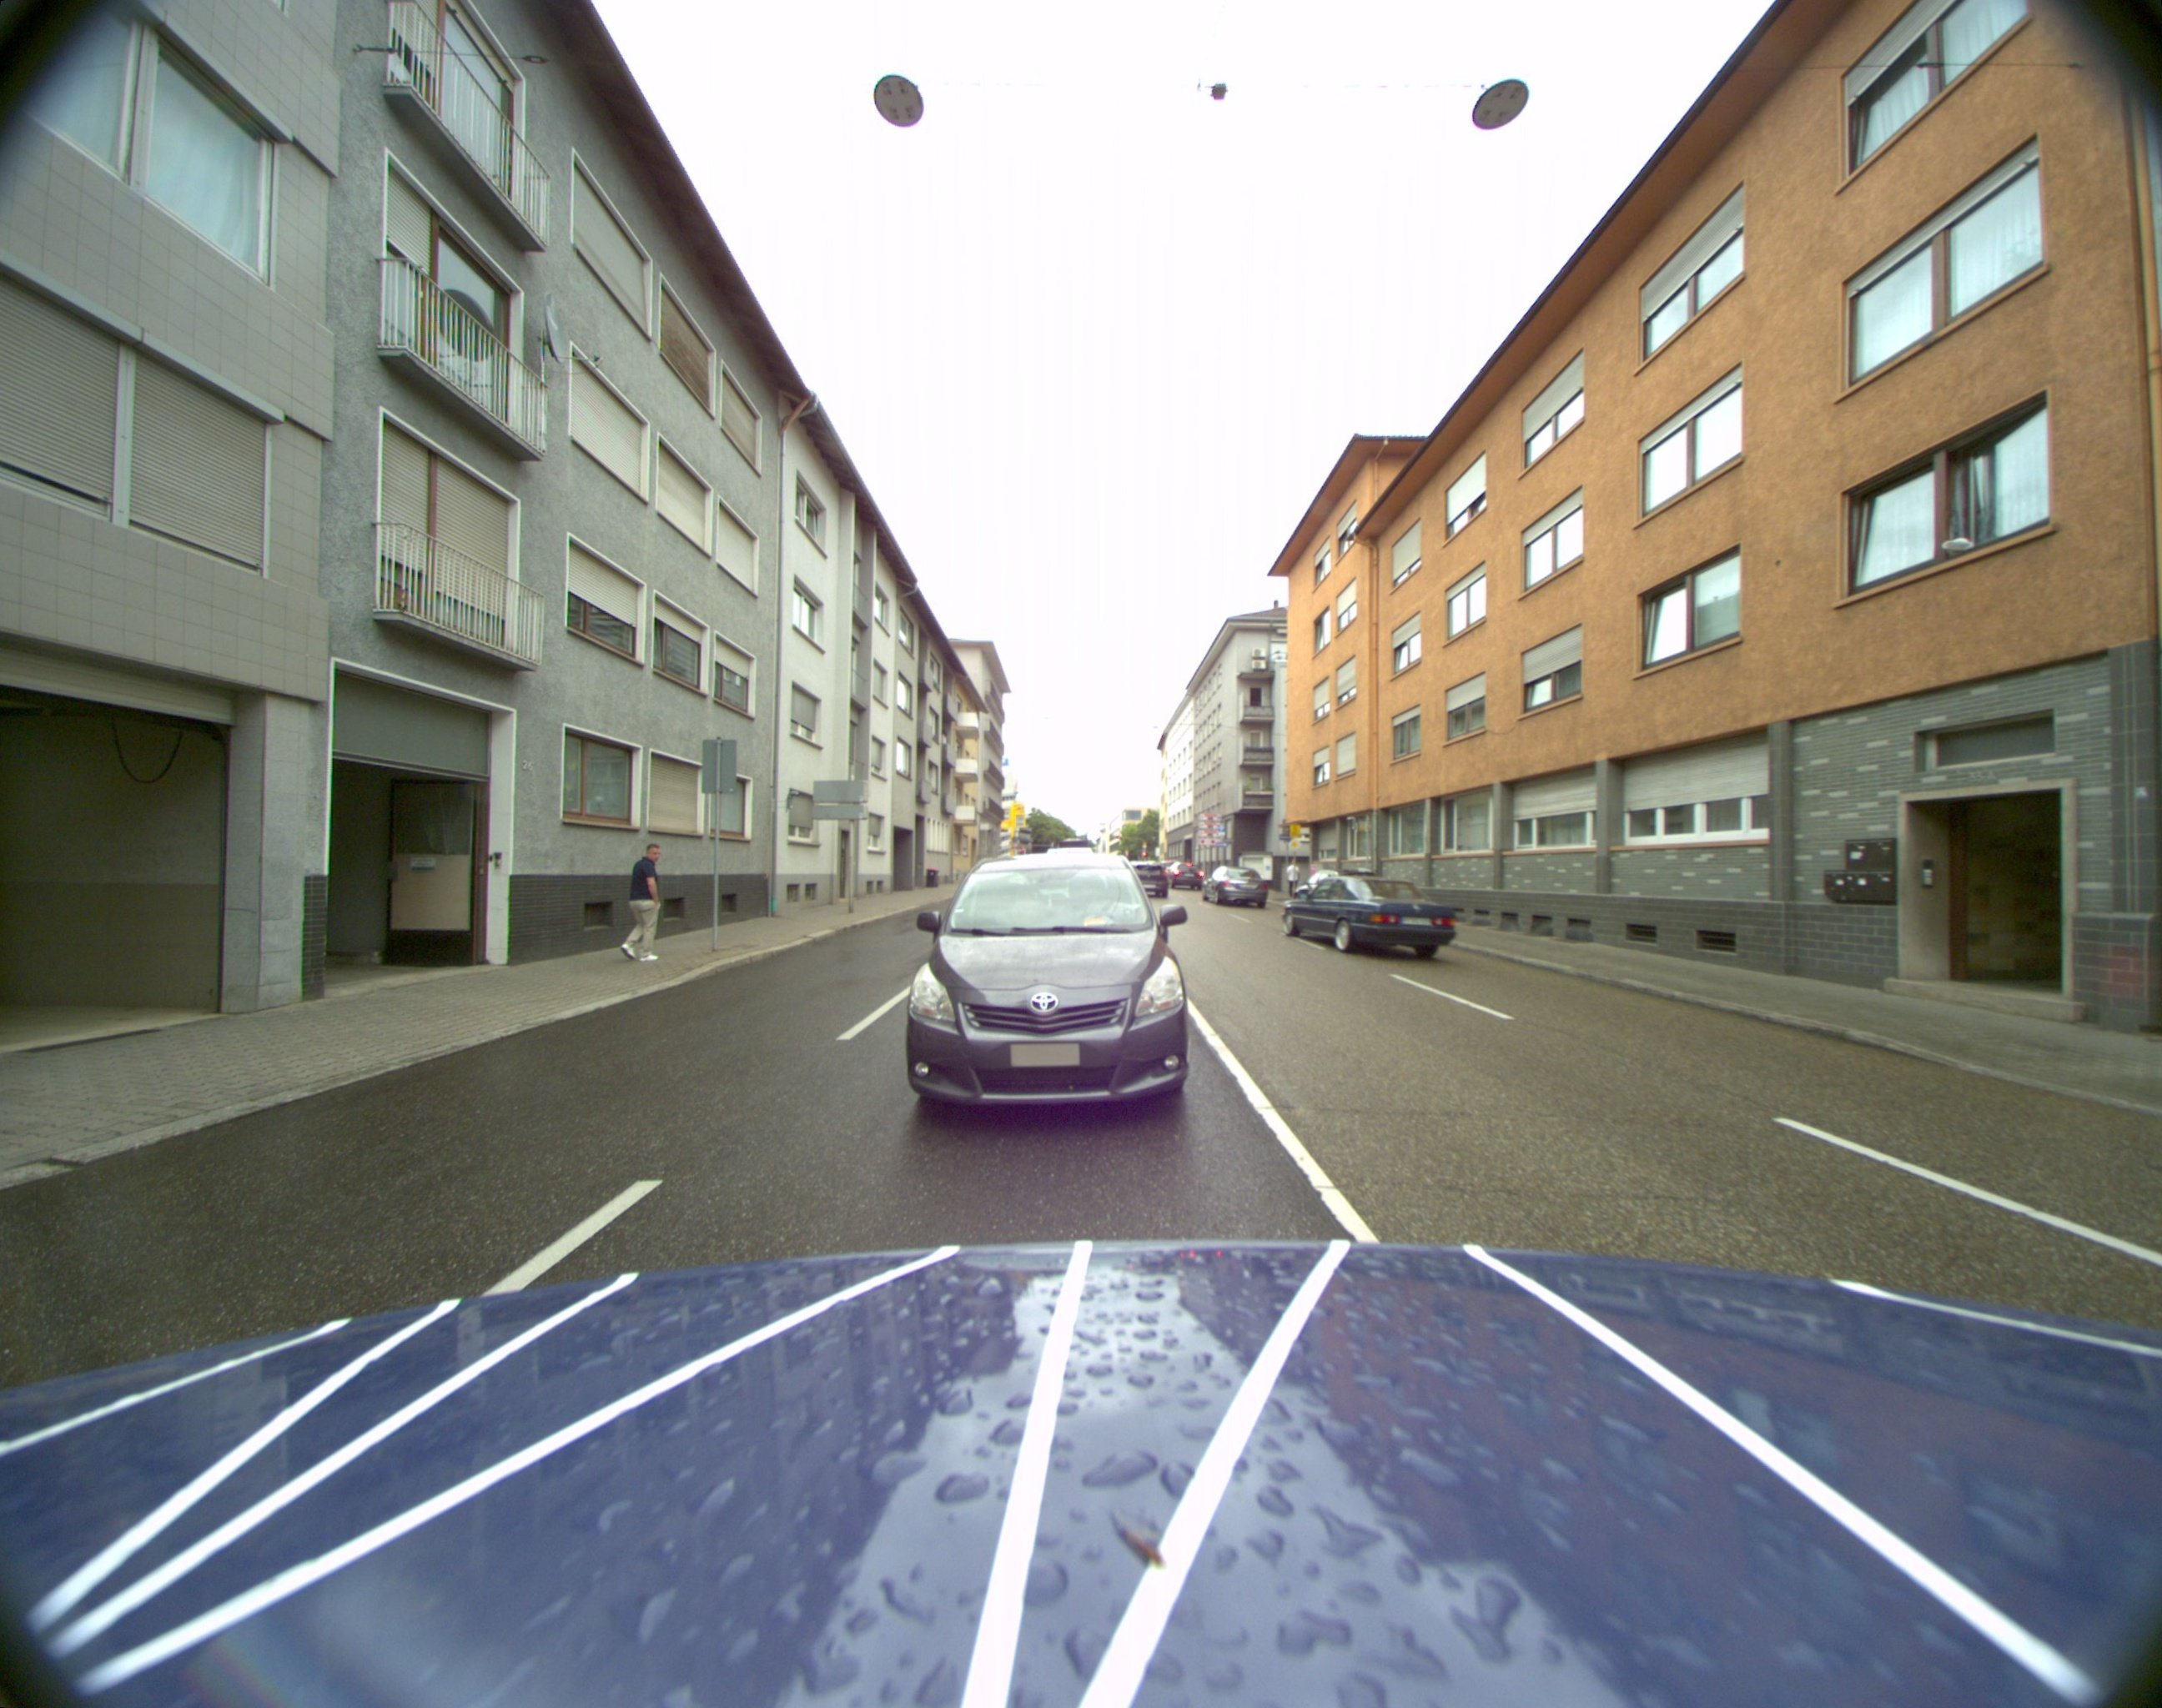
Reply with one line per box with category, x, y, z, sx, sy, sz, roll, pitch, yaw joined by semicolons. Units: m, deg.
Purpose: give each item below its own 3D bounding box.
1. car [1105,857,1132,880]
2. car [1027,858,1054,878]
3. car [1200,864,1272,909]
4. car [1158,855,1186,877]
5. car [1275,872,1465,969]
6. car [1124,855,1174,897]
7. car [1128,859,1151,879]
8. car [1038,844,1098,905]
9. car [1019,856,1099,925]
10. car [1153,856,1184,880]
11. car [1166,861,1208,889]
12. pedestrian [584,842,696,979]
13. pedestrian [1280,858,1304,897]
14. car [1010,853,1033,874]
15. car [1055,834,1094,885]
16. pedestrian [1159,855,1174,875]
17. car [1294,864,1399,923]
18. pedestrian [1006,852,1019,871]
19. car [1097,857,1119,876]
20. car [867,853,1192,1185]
car;2.481;0.935;51.166;1.699;1.362;4.217;2;1;1
car;-3.248;1.098;61.564;1.856;1.369;4.217;-2;1;1
car;5.720;1.149;28.549;1.699;1.362;4.365;3;1;-1
car;7.822;0.980;65.740;1.856;1.712;4.217;-2;1;1
car;5.229;1.125;14.429;1.603;1.362;4.360;3;0;-4
car;2.877;0.895;32.961;1.699;1.571;4.216;2;1;0
car;5.460;1.352;71.646;1.856;1.651;4.610;-2;1;1
car;-0.393;0.629;26.589;1.856;1.882;4.217;-2;1;1
car;-0.502;0.886;20.084;1.856;1.524;3.792;-2;1;1
car;6.522;1.006;57.238;1.699;1.530;4.435;4;1;0
car;6.064;1.171;43.863;1.727;1.464;4.373;2;0;-1
pedestrian;-6.449;0.786;11.179;0.871;1.855;1.120;4;1;1
pedestrian;9.257;1.009;33.362;0.768;1.630;1.023;-2;1;5
car;-5.125;0.780;65.875;1.856;1.663;4.215;-2;1;-4
car;-0.327;0.288;43.632;2.033;2.731;4.368;-2;1;1
pedestrian;8.727;1.092;77.473;1.309;2.002;1.258;-2;1;1
car;8.047;1.138;23.448;1.799;1.466;4.217;-2;1;1
pedestrian;-6.409;0.718;70.955;1.119;1.741;0.961;1;1;-5
car;2.401;1.102;68.287;1.622;1.530;4.216;2;1;-1
car;-0.250;0.896;6.240;1.699;1.712;4.217;-2;1;1
